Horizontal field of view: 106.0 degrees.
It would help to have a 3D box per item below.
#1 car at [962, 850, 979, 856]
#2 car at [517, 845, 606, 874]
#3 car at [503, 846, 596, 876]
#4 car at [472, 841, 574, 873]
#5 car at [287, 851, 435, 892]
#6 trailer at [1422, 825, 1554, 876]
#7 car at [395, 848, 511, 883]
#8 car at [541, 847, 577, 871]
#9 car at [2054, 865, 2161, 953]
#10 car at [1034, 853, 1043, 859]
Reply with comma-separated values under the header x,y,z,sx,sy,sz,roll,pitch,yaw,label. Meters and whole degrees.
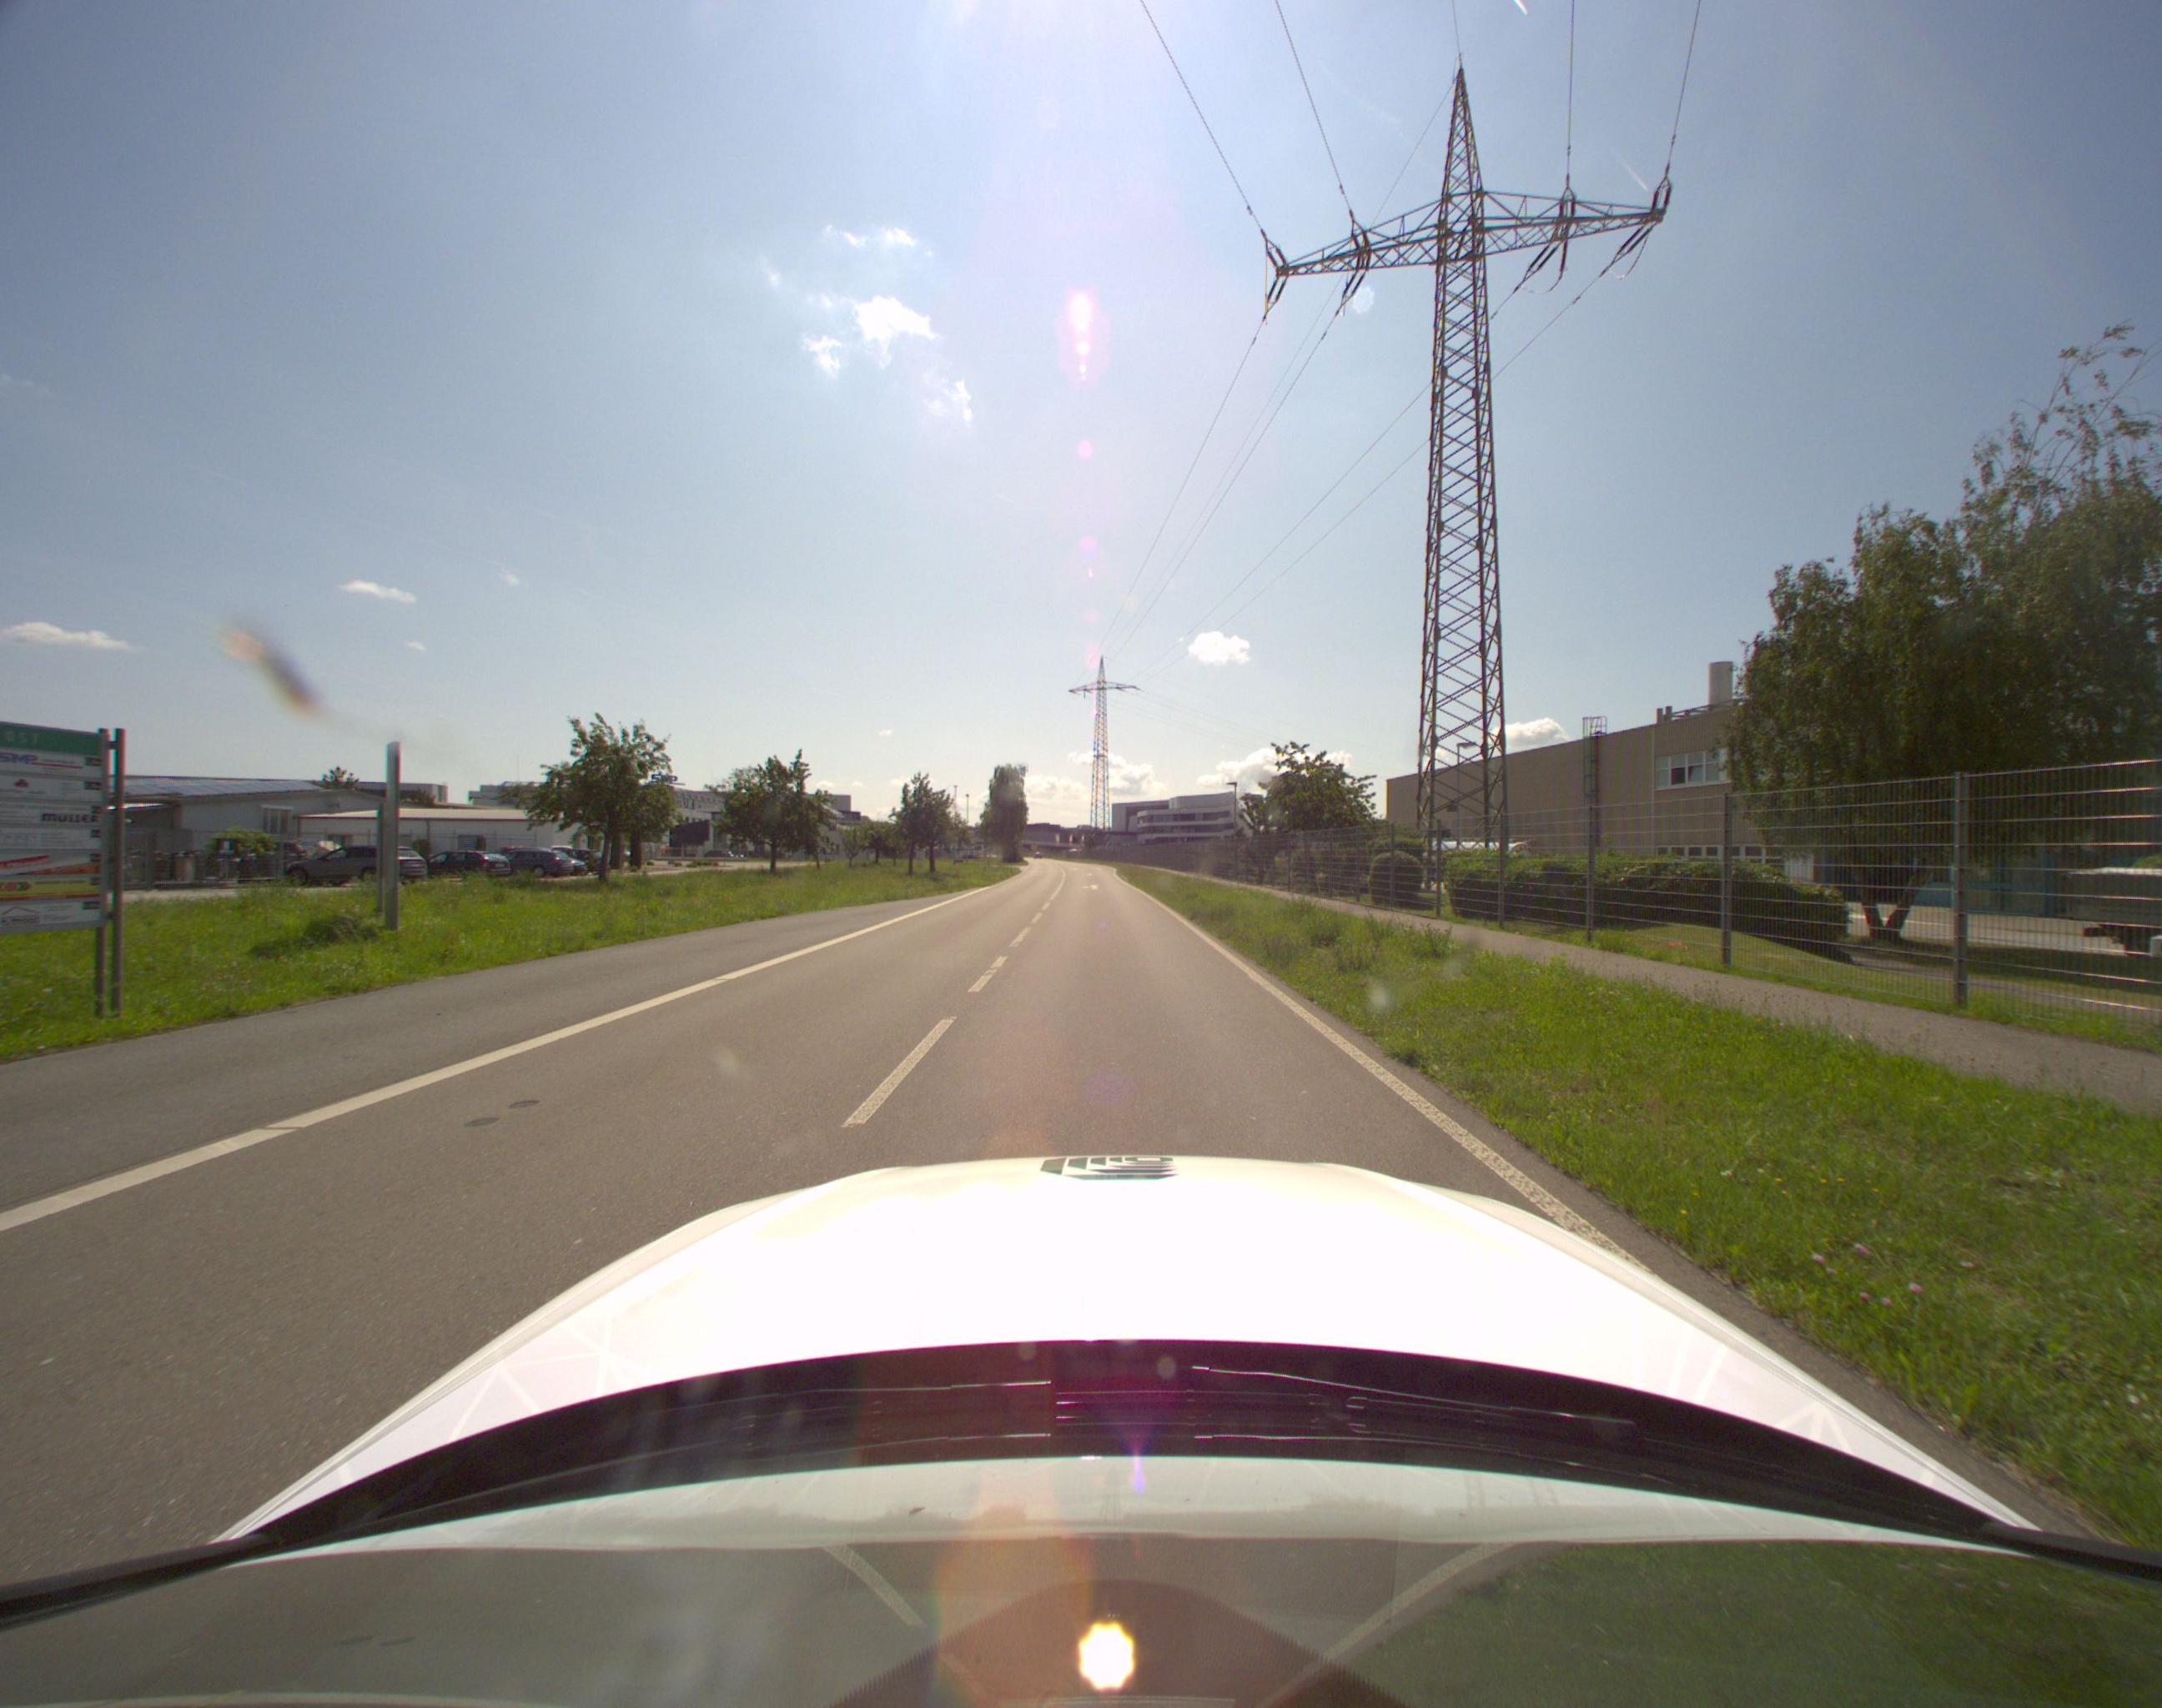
x,y,z,sx,sy,sz,roll,pitch,yaw,label
-27.191,-0.204,200.655,3.983,1.574,1.996,0,0,-7,car
-31.050,0.304,48.786,3.980,1.640,1.996,1,0,-5,car
-30.410,0.388,46.675,3.980,1.640,1.855,1,0,-5,car
-29.736,0.160,43.534,3.980,1.640,1.997,1,0,-5,car
-28.847,0.691,32.757,3.980,1.528,1.997,1,0,-5,car
32.214,-0.279,65.440,3.585,3.735,12.214,-1,0,-6,trailer
-29.320,0.534,38.111,3.980,1.555,1.663,1,0,-5,car
-36.587,0.348,57.062,2.008,1.640,4.126,1,0,-34,car
23.484,1.169,15.839,2.107,1.779,5.642,1,0,-7,car
-10.446,0.450,201.342,2.007,1.508,3.997,1,0,-2,car
